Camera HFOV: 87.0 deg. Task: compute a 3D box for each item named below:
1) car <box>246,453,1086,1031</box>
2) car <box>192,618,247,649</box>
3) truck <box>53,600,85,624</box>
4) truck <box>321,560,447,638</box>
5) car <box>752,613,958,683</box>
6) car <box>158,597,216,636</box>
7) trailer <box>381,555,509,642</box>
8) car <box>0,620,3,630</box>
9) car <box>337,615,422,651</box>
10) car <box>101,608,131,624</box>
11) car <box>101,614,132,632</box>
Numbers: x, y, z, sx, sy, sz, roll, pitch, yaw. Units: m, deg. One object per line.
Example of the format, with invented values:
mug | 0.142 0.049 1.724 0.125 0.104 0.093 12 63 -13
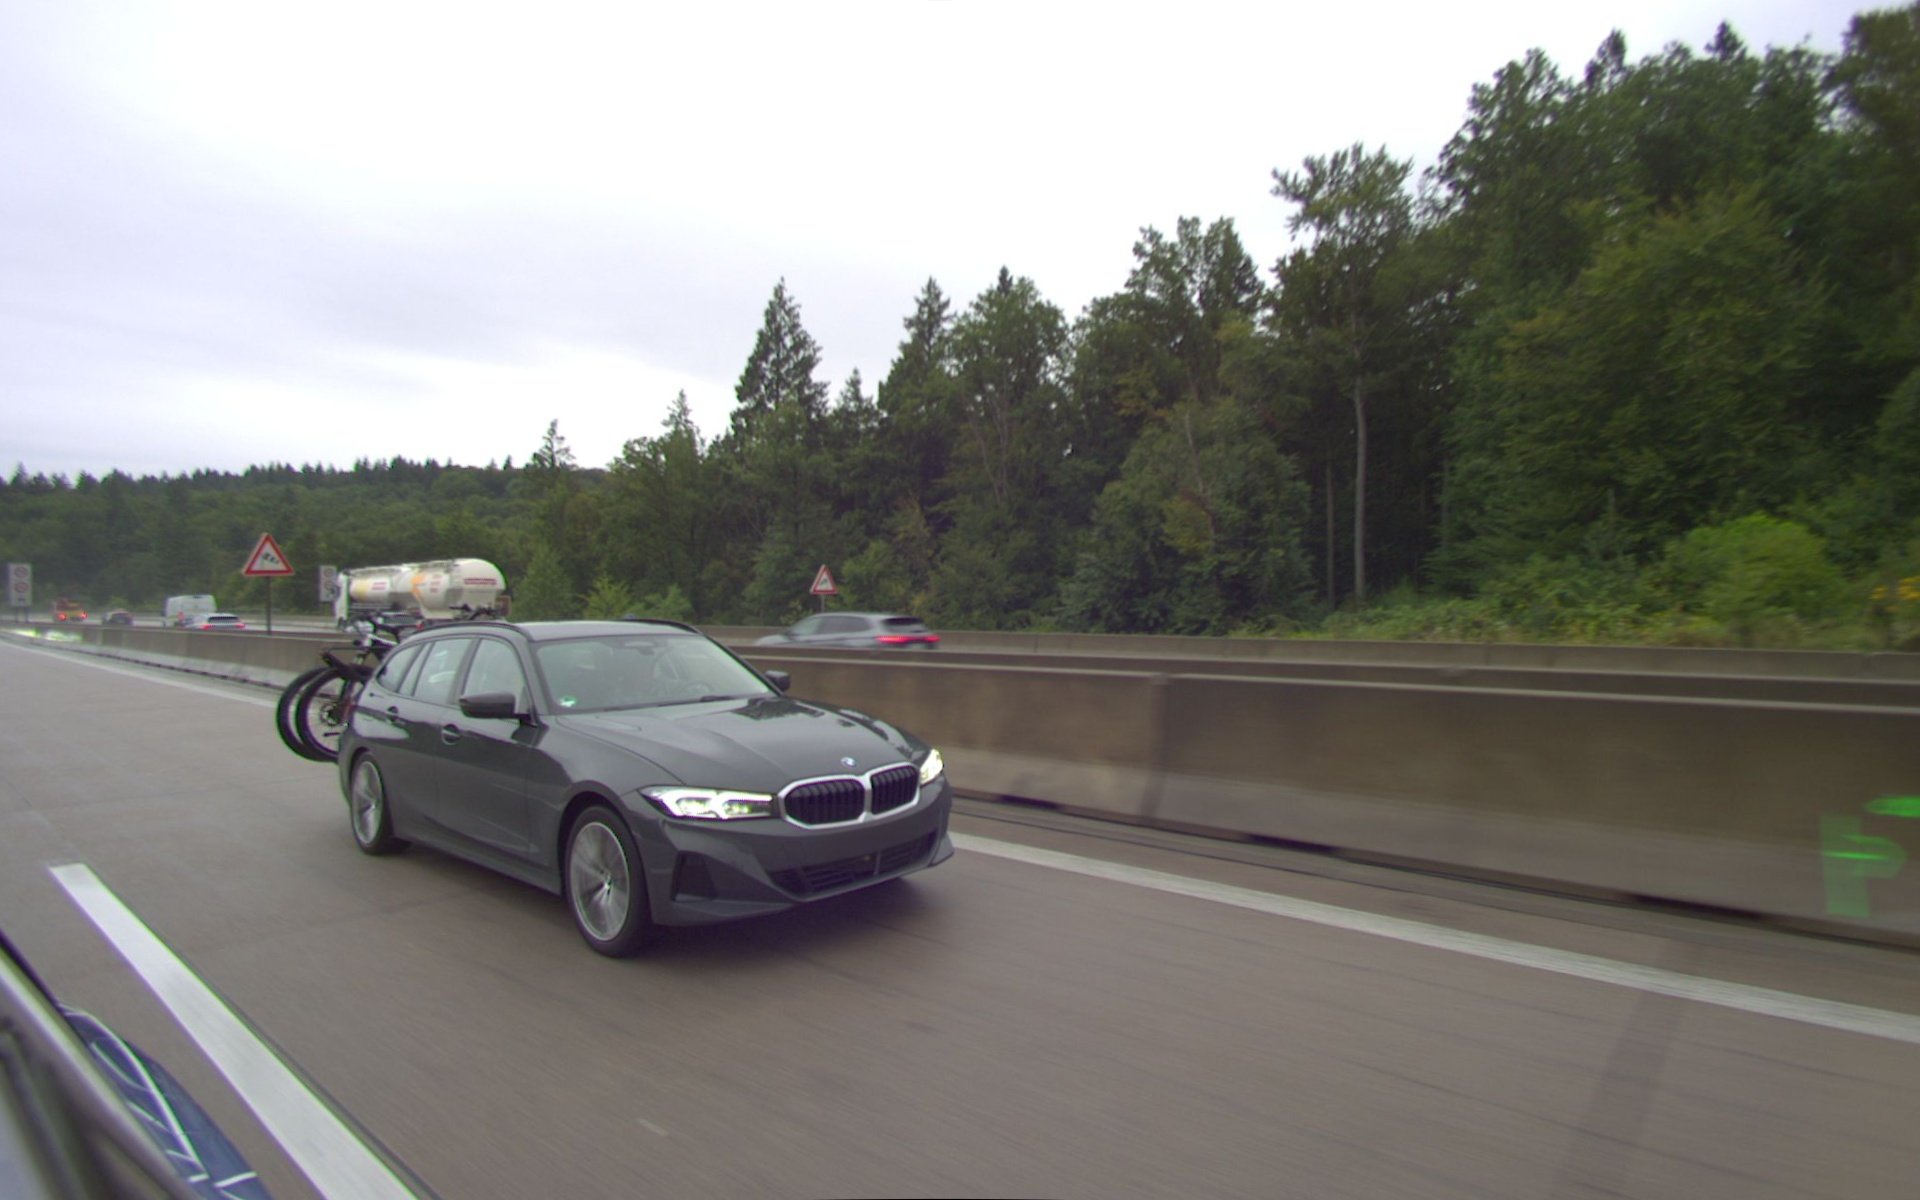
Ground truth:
car | -2.336 0.526 6.179 6.159 1.959 1.888 -1 -1 41
car | -35.306 1.542 48.178 1.639 1.382 4.764 0 -1 -42
truck | -122.228 1.653 138.818 10.664 3.198 2.405 -1 0 44
truck | -29.818 0.018 52.082 10.490 3.695 2.536 -1 -1 43
car | -2.348 0.969 21.811 4.561 1.343 1.783 -1 -1 41
car | -51.626 1.114 67.528 6.745 2.467 1.972 -1 -1 43
trailer | -23.784 0.006 46.525 8.229 3.695 2.518 -1 -1 43
car | -135.664 3.563 141.914 4.752 1.401 1.971 -1 0 44
car | -23.708 1.325 41.258 4.720 1.382 1.641 -1 -1 42
car | -93.332 1.720 111.938 4.975 1.712 1.971 -1 0 44
car | -75.009 2.006 89.970 4.643 1.565 1.590 -1 0 44
